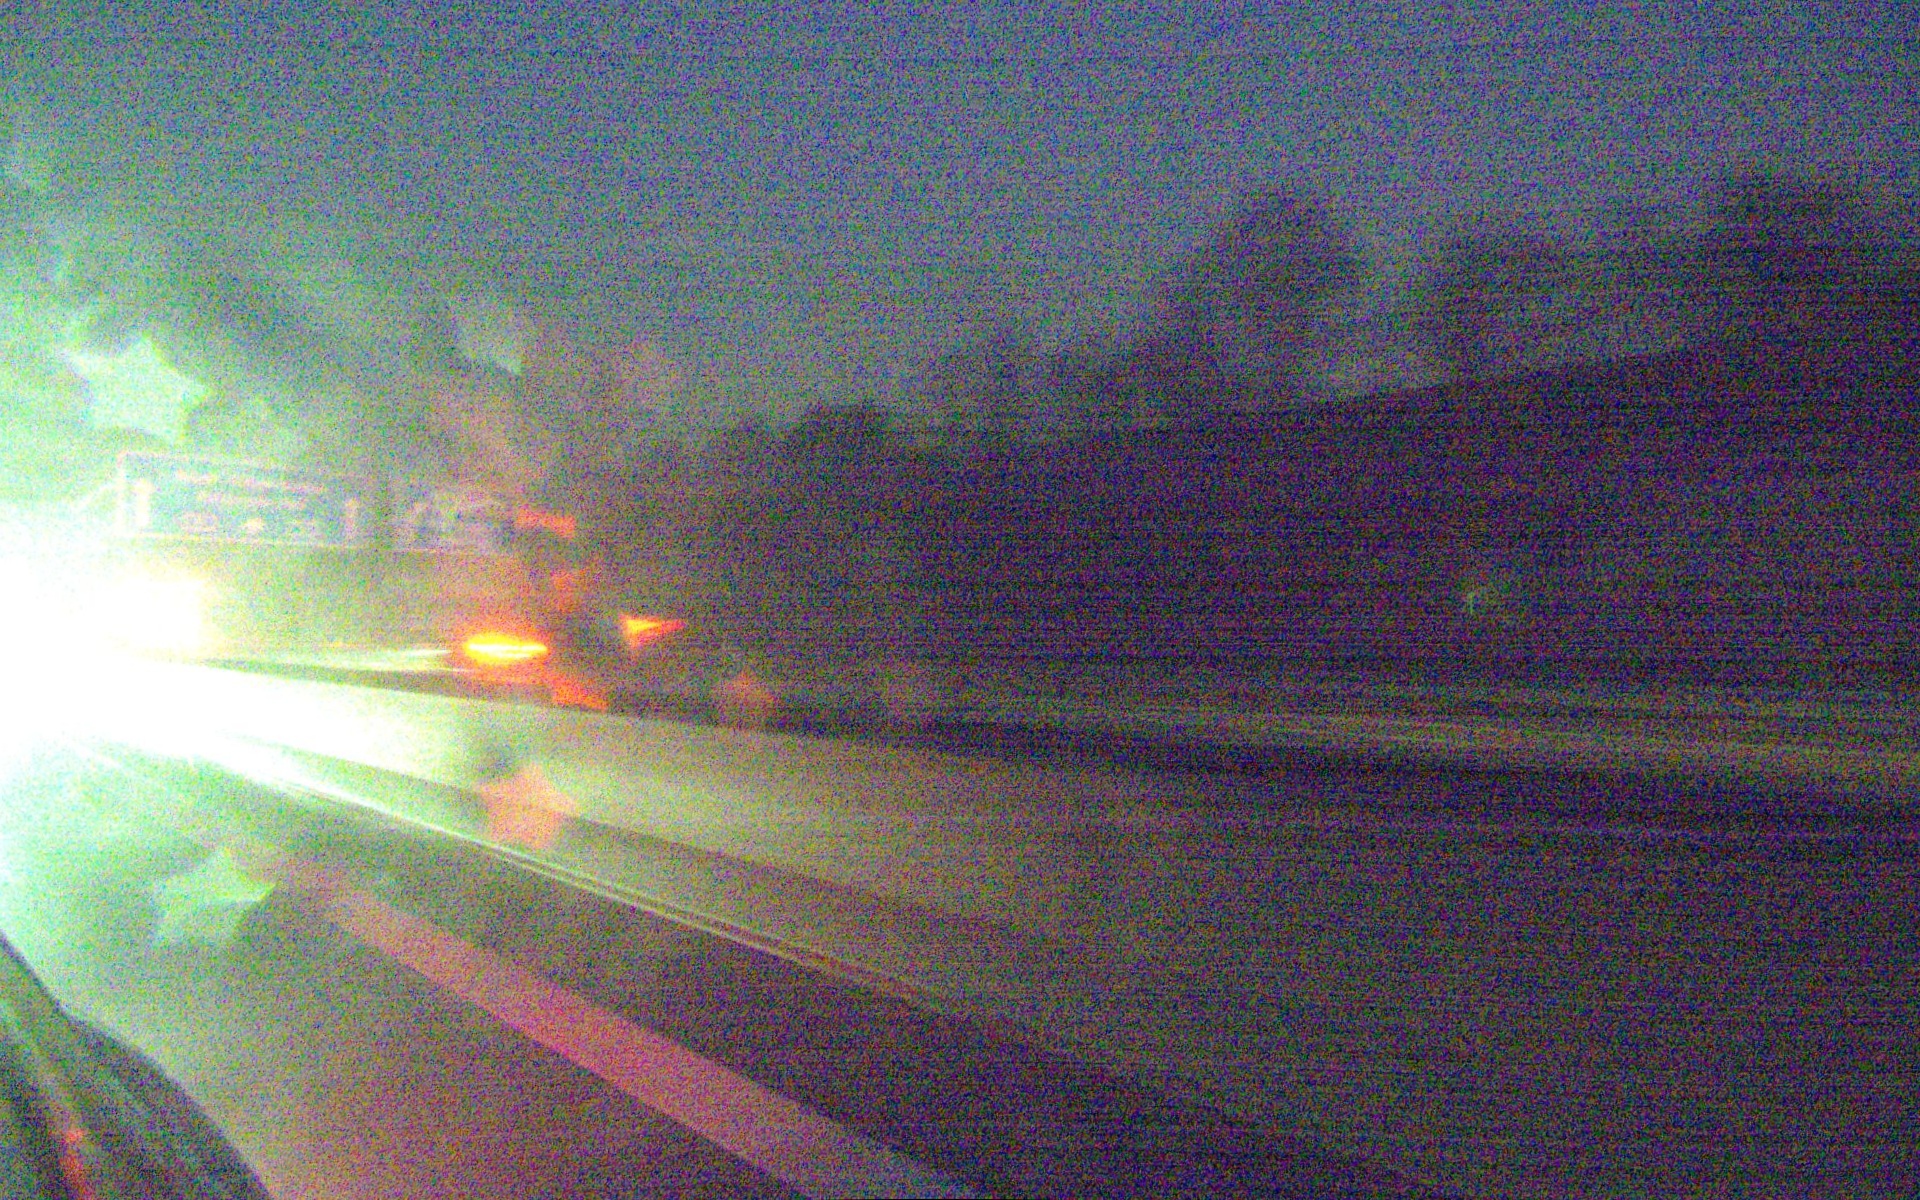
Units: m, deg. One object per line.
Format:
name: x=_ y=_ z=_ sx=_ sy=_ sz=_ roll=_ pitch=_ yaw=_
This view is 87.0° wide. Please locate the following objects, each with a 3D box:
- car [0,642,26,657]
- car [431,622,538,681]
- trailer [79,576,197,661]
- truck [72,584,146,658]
car: x=-115.843 y=6.028 z=123.568 sx=4.954 sy=1.787 sz=1.974 roll=-1 pitch=-3 yaw=39
car: x=-17.516 y=1.827 z=37.203 sx=4.389 sy=2.029 sz=1.973 roll=-1 pitch=-2 yaw=41
trailer: x=-47.753 y=1.110 z=58.519 sx=14.620 sy=4.411 sz=2.663 roll=-2 pitch=-1 yaw=40
truck: x=-53.130 y=1.285 z=63.127 sx=5.731 sy=4.414 sz=2.663 roll=-2 pitch=-1 yaw=41
